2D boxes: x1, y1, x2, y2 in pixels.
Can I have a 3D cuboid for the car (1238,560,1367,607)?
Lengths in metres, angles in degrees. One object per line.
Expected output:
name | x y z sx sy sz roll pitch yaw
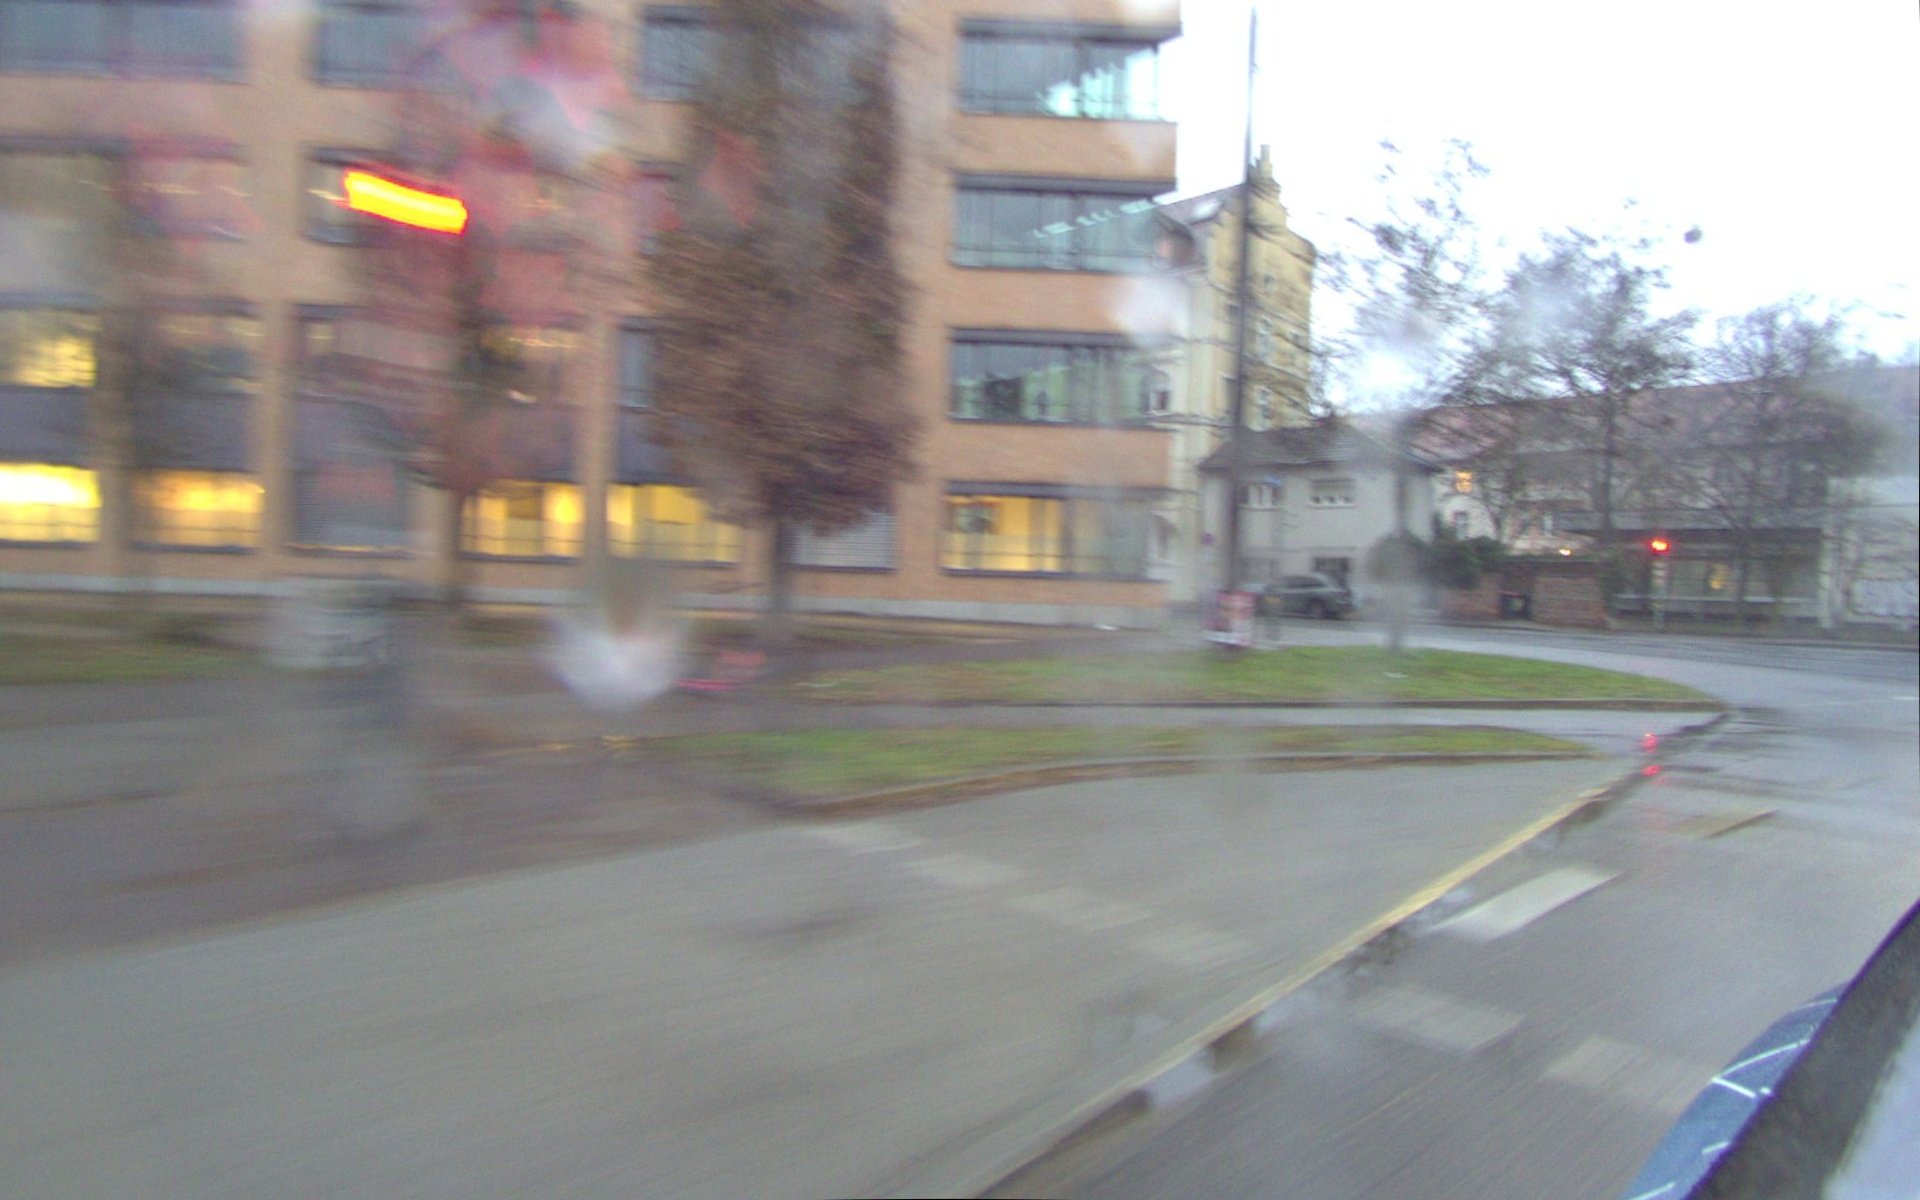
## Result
car | 13.713 -0.702 40.644 4.494 1.690 1.971 3 2 41

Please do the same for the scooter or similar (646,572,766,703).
scooter or similar | -2.588 0.352 10.301 1.135 1.247 0.483 2 1 28
